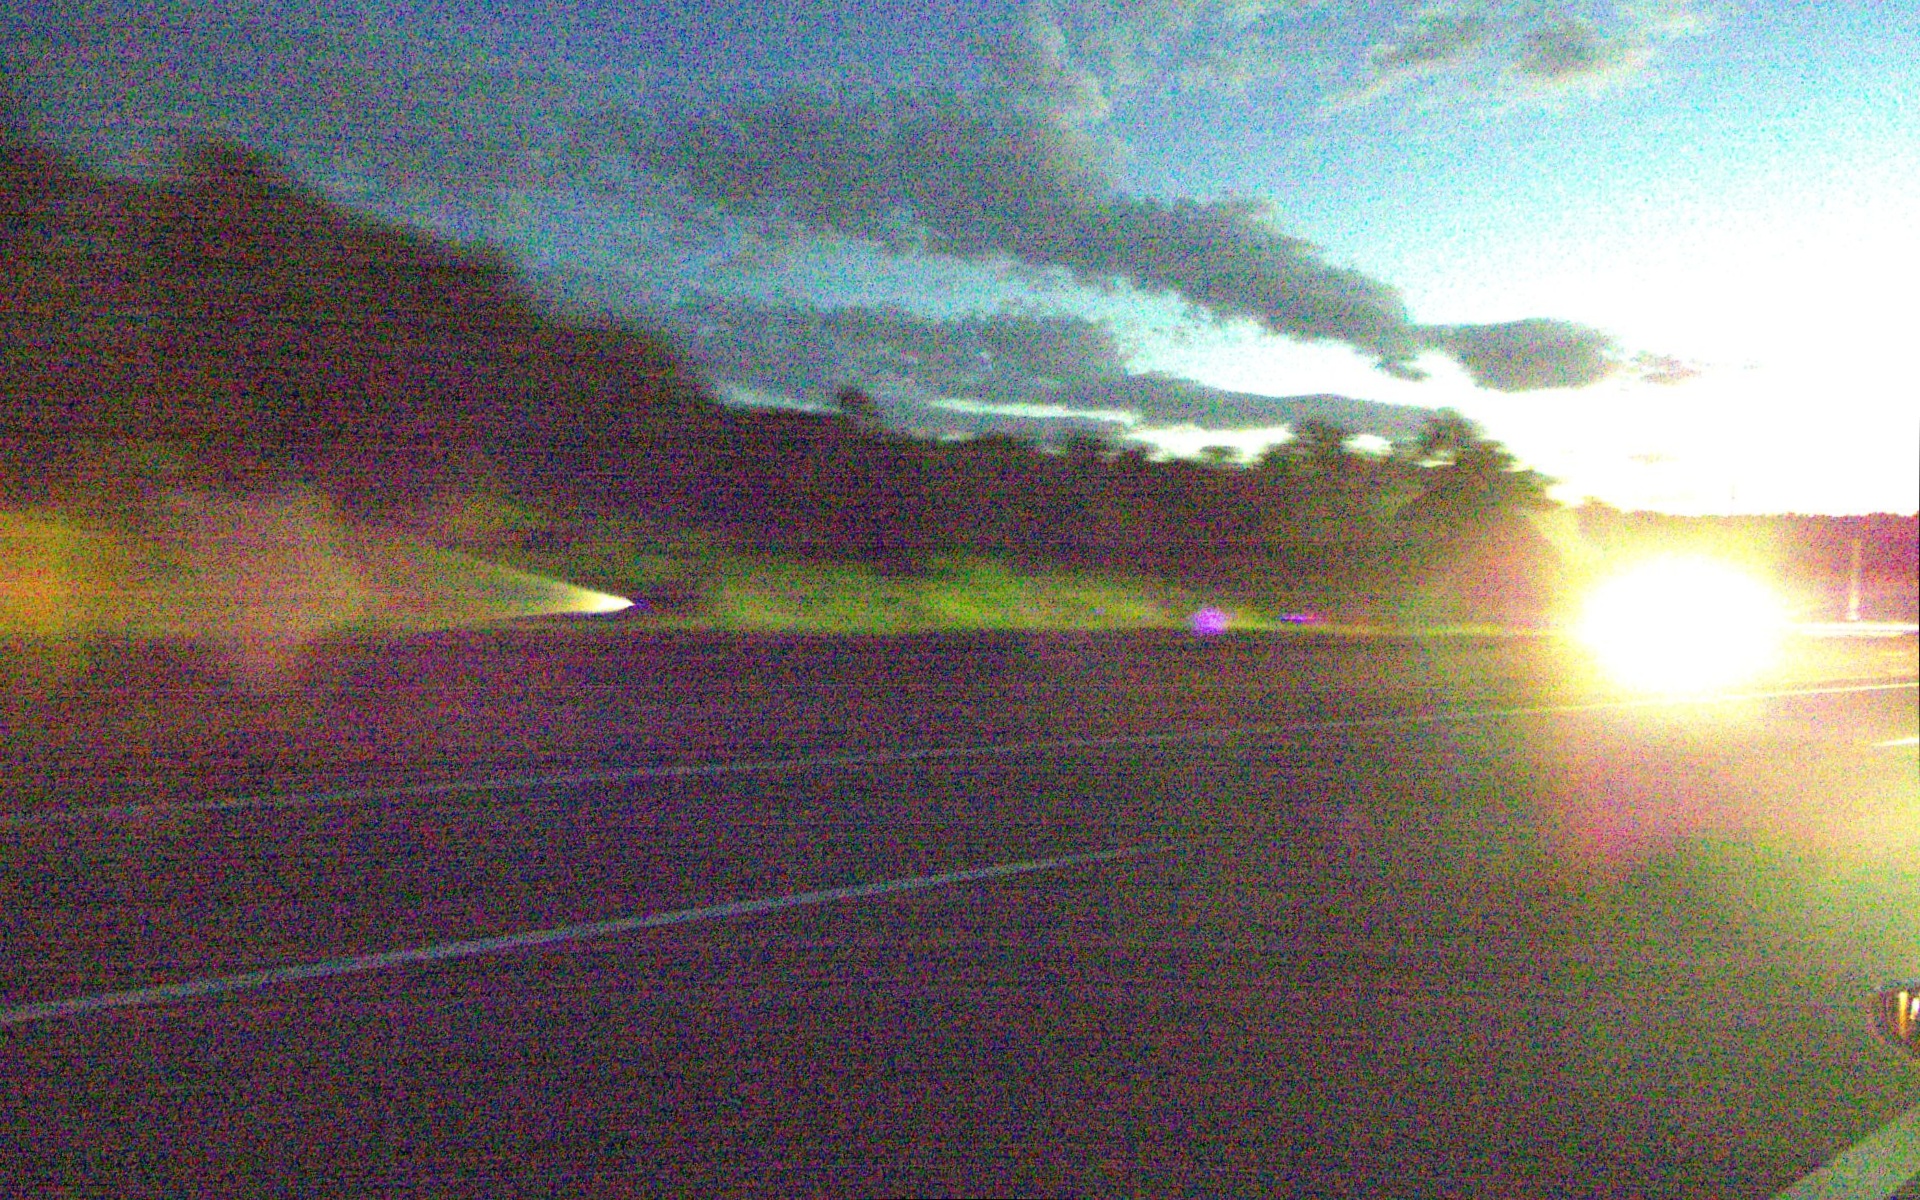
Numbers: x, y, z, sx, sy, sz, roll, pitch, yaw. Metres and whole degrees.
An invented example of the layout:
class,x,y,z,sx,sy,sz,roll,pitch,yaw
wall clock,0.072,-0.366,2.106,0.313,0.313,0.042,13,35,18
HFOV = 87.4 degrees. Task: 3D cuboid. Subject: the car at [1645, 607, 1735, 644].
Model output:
class,x,y,z,sx,sy,sz,roll,pitch,yaw
car,32.594,1.129,44.833,3.957,1.529,1.982,1,0,-33
